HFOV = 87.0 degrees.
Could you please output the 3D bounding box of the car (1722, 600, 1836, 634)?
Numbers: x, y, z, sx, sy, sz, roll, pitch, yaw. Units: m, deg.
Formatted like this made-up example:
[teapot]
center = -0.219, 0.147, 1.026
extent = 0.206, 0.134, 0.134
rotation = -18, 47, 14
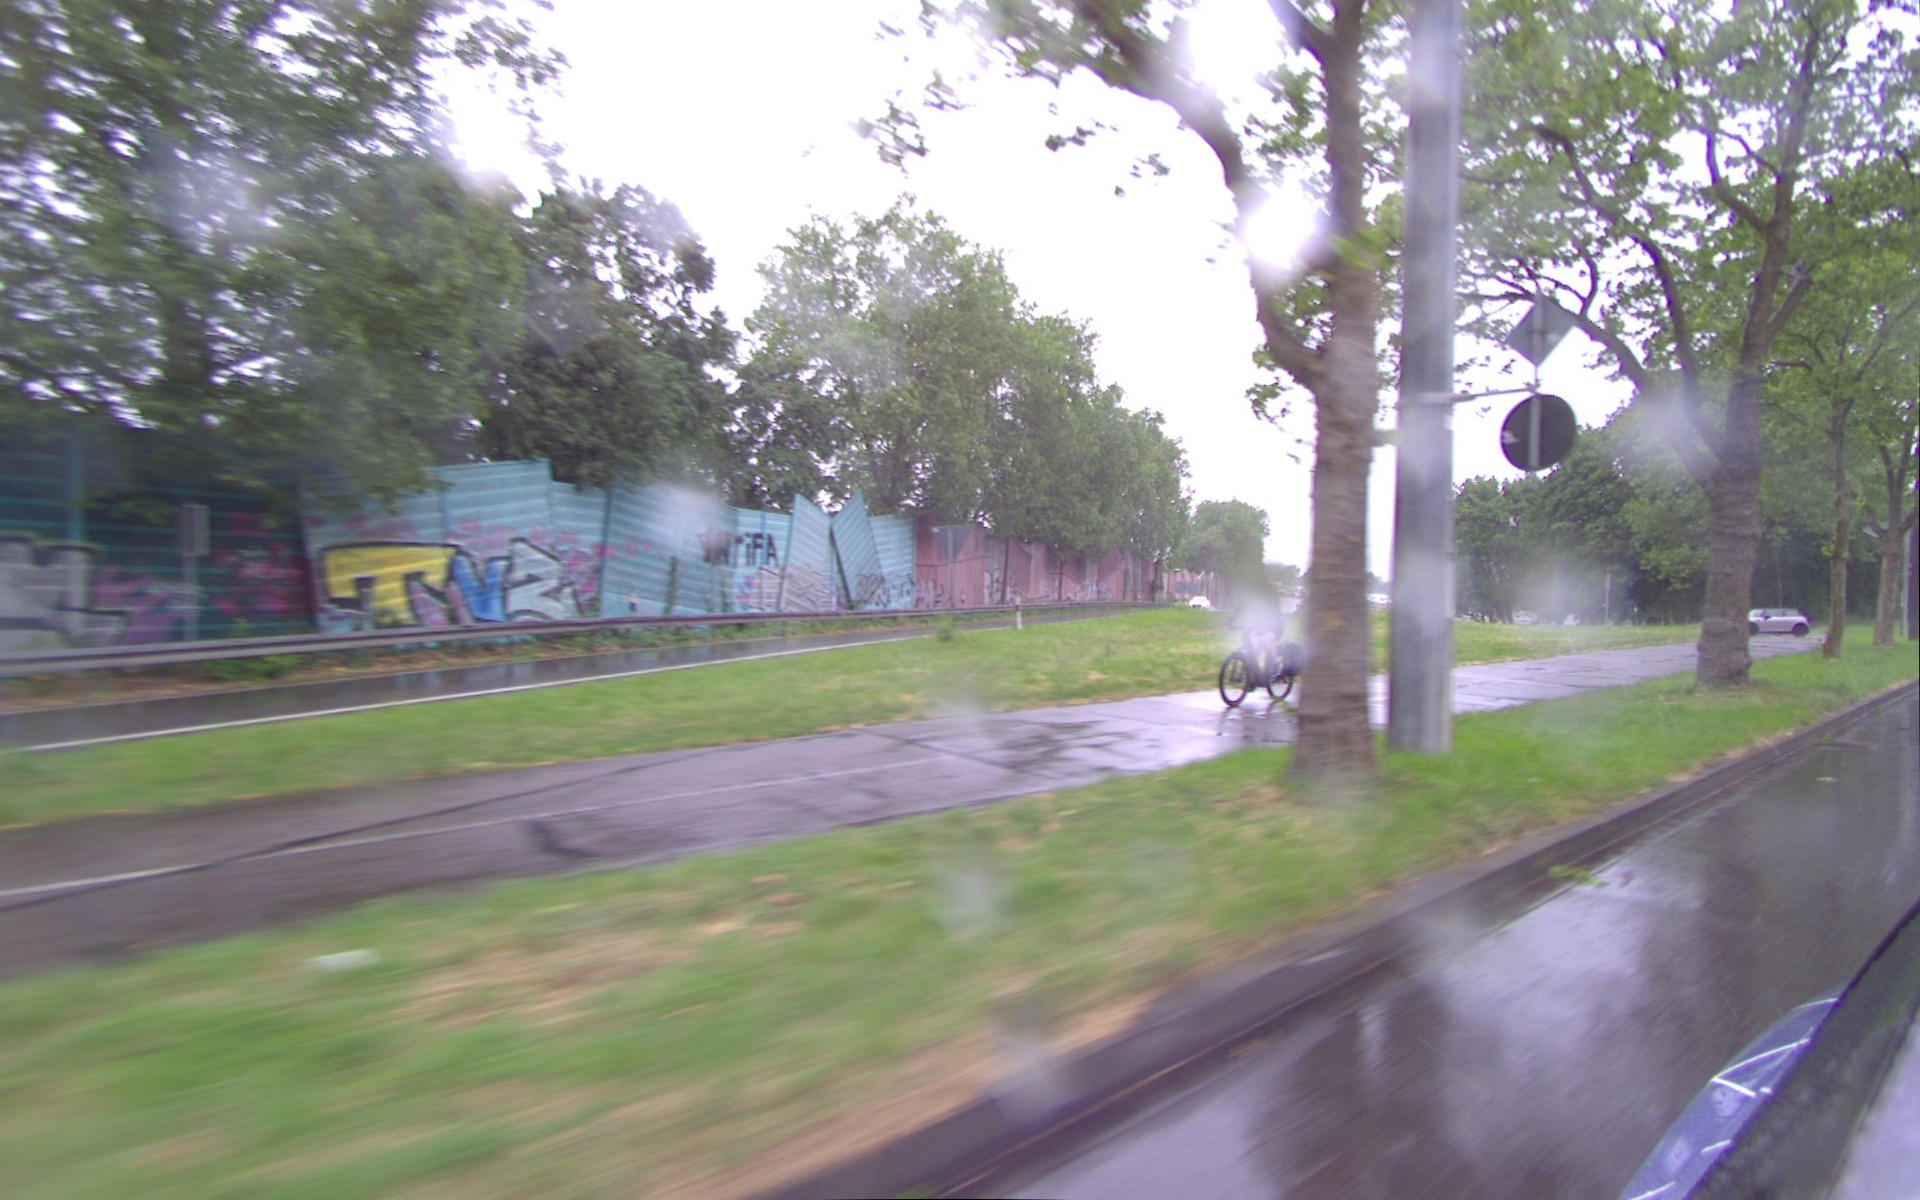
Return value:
[car]
center = 39.752, 0.790, 49.194
extent = 3.930, 1.437, 1.750
rotation = 2, 2, 6
